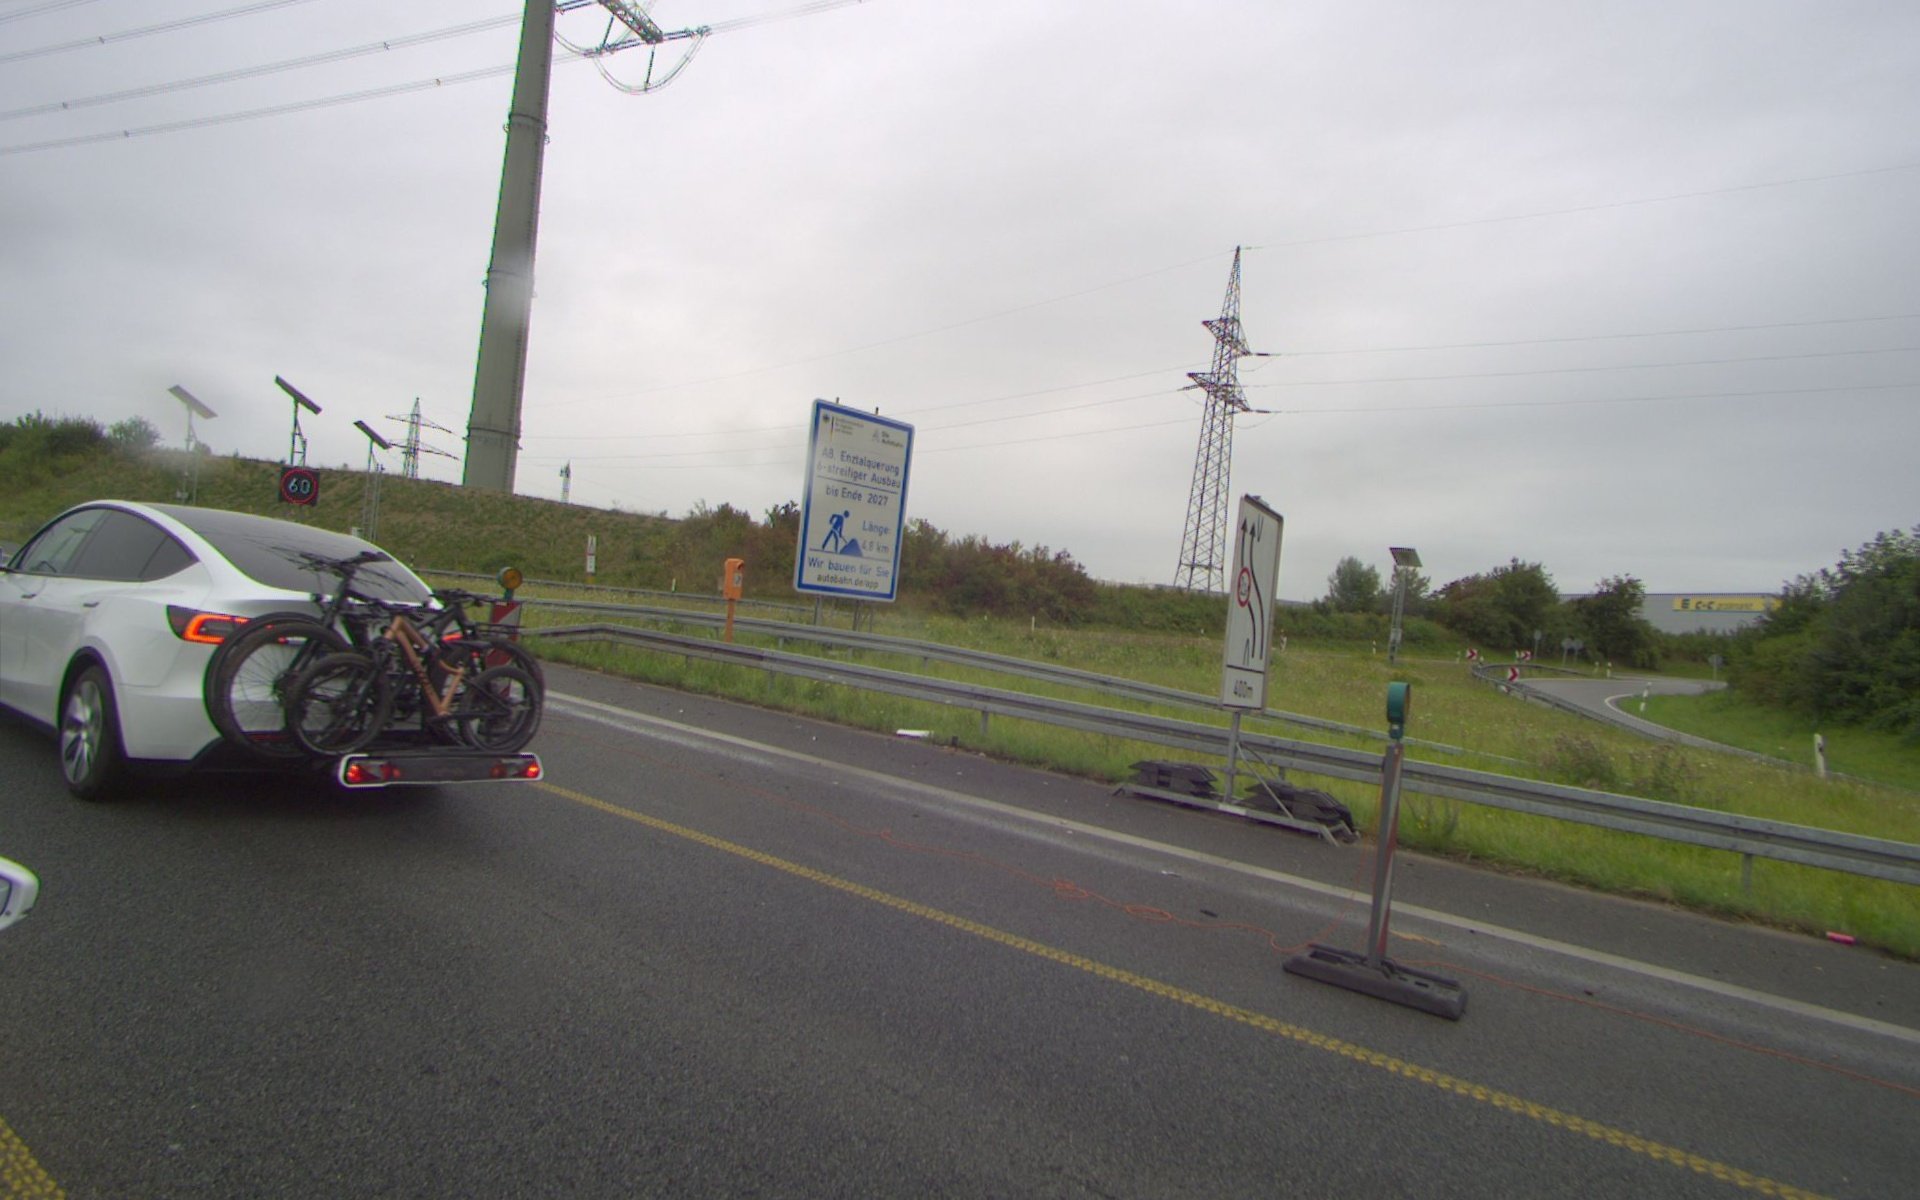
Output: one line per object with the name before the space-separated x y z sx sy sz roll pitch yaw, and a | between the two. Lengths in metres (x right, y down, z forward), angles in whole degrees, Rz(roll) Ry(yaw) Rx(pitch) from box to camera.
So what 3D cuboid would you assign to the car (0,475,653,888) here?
car | -4.800 0.214 6.509 5.706 1.614 2.049 6 -2 33
